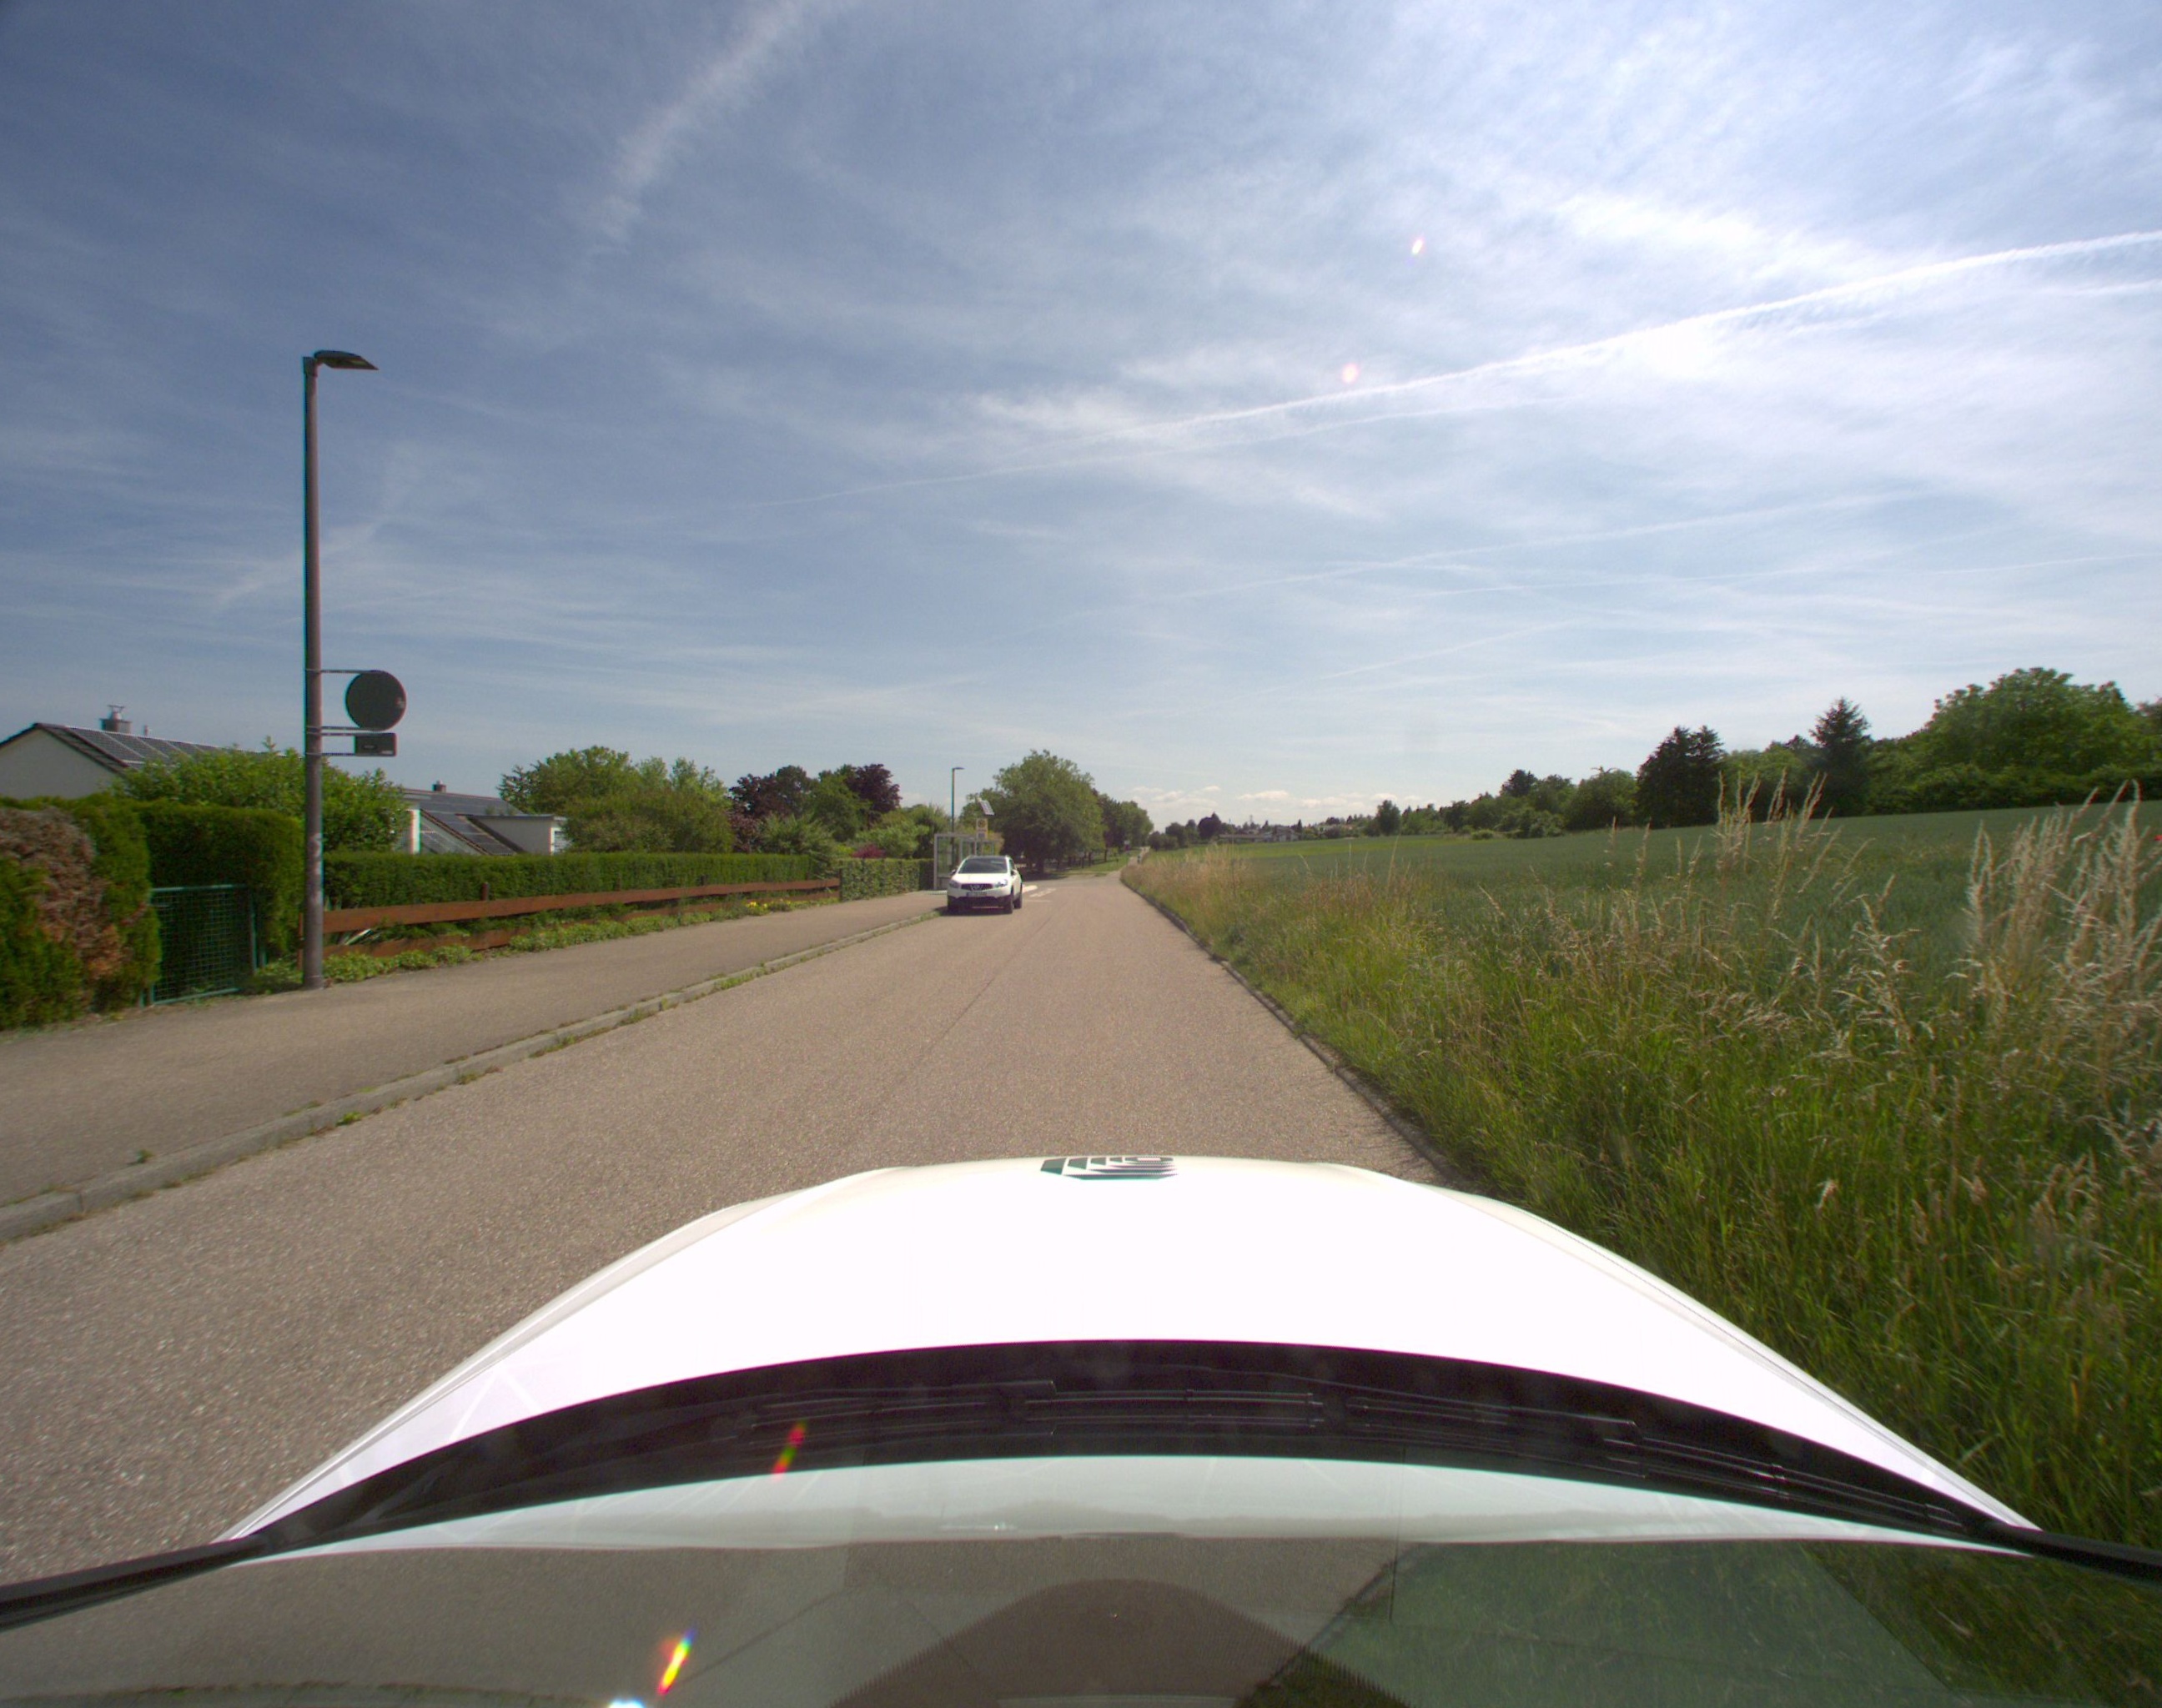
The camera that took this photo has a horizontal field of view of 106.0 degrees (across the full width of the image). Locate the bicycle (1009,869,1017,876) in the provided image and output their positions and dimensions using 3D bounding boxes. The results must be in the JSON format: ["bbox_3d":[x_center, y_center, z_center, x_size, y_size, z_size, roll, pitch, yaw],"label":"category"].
[{"bbox_3d":[-9.634,2.638,115.761,0.590,1.039,1.899,-2,0,12],"label":"bicycle"}]

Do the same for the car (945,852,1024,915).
[{"bbox_3d":[-2.713,0.816,23.845,1.728,1.633,4.352,-1,-1,1],"label":"car"}]
